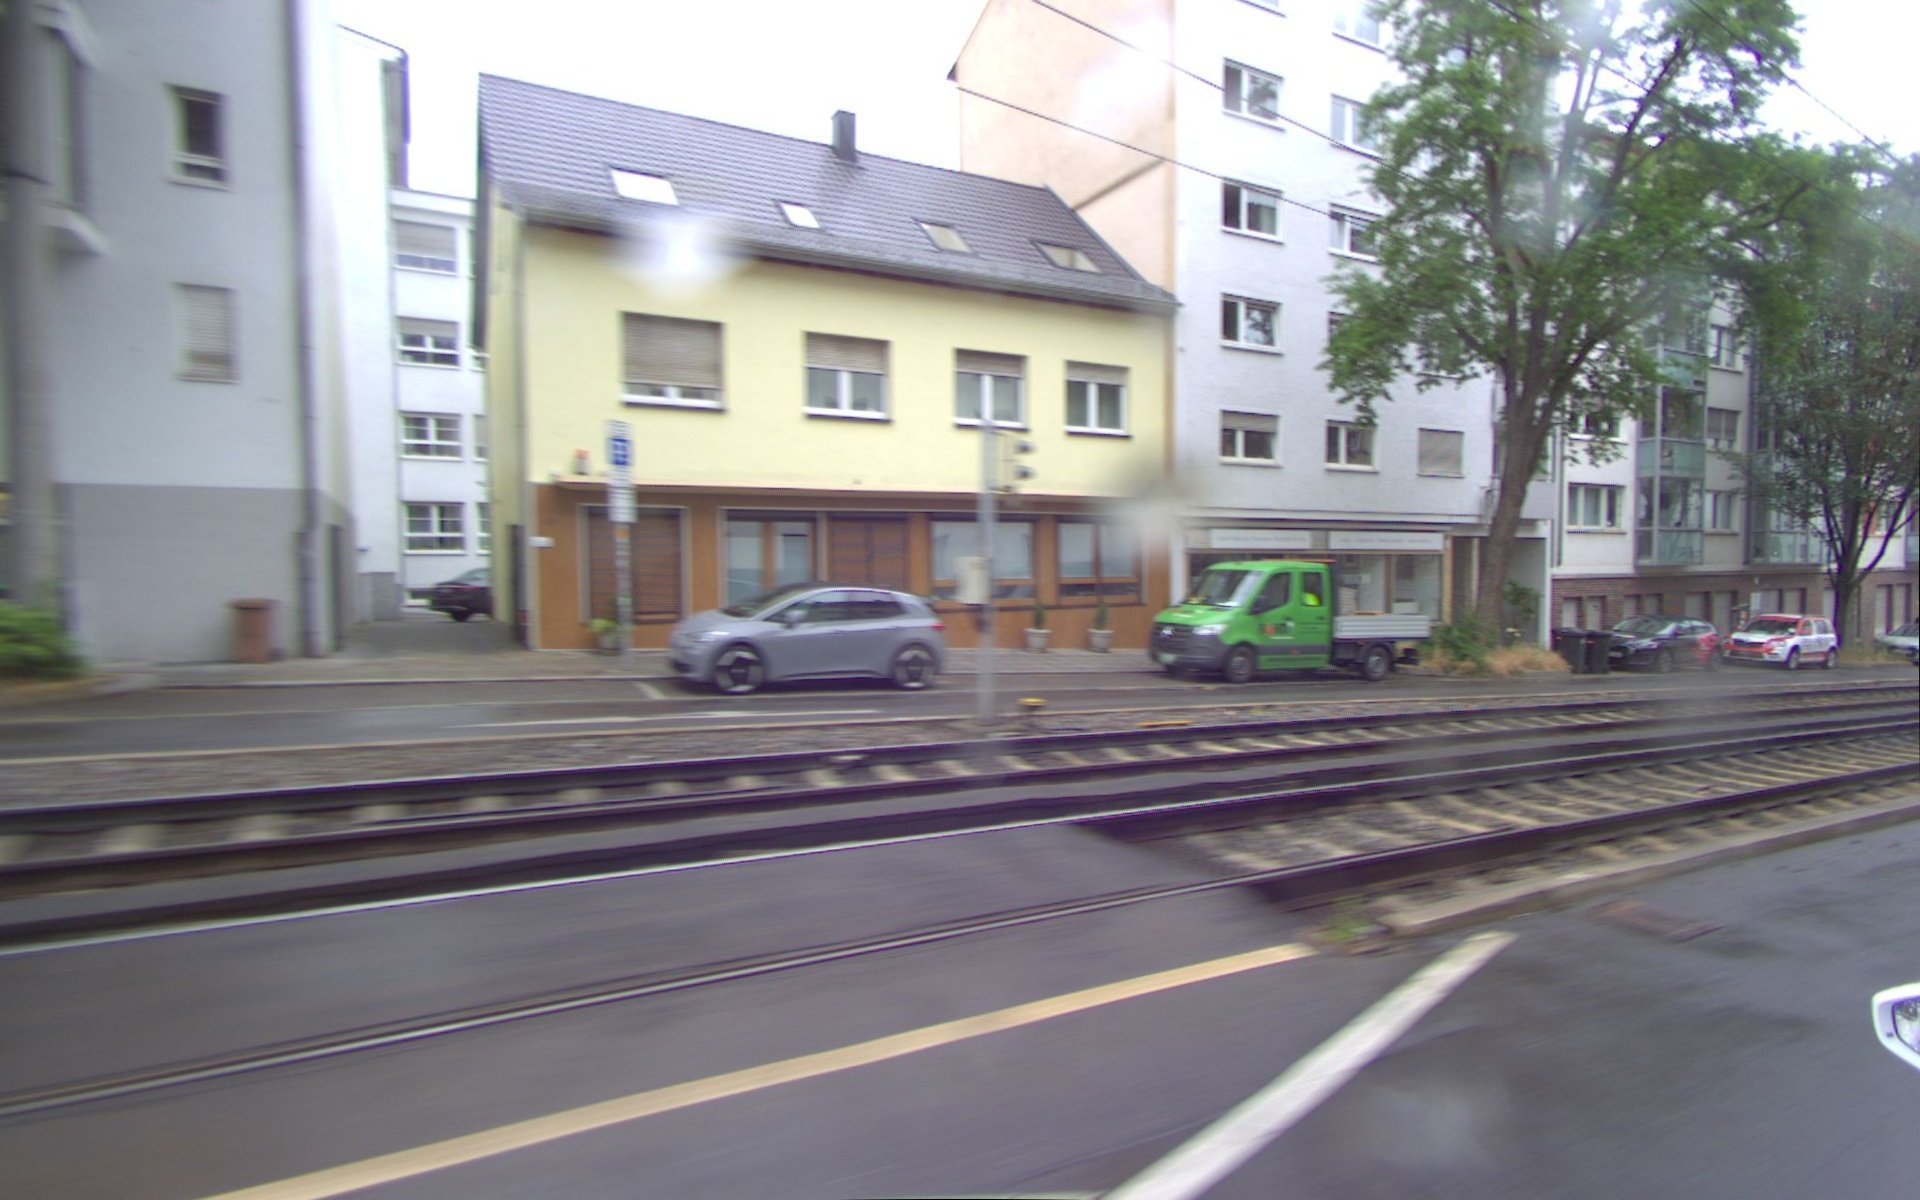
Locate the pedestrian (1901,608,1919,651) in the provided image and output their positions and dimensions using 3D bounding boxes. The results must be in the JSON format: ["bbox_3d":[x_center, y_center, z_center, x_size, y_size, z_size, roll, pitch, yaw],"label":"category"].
[{"bbox_3d":[40.715,1.247,42.791,0.773,1.796,0.670,1,1,-29],"label":"pedestrian"}]

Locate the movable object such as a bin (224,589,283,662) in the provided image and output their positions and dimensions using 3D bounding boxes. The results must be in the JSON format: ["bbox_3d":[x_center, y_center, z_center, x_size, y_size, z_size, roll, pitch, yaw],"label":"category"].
[{"bbox_3d":[-10.176,0.368,14.485,0.638,1.028,0.436,1,1,-31],"label":"movable object such as a bin"}]

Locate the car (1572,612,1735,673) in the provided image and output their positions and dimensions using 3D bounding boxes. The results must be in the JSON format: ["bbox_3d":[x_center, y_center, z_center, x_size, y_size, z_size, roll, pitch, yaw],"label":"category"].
[{"bbox_3d":[18.687,1.122,27.032,4.417,1.459,1.897,1,0,-30],"label":"car"}]

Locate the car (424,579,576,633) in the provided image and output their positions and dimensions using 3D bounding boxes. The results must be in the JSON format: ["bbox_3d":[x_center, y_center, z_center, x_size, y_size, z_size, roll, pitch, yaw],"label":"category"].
[{"bbox_3d":[-12.773,0.149,28.158,1.873,1.350,4.002,2,0,11],"label":"car"}]

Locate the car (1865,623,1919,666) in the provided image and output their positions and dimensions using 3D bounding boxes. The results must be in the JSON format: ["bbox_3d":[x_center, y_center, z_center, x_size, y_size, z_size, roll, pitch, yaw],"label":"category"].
[{"bbox_3d":[34.415,1.587,35.961,4.080,1.353,1.694,1,3,-29],"label":"car"}]

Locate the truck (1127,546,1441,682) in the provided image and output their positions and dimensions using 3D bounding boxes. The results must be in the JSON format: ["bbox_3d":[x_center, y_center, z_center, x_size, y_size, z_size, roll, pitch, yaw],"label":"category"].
[{"bbox_3d":[6.585,0.356,20.186,6.272,2.376,2.184,3,-1,-28],"label":"truck"}]

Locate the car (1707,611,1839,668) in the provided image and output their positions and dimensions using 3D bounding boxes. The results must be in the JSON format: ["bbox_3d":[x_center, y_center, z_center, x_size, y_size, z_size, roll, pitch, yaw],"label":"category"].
[{"bbox_3d":[24.688,1.168,30.478,4.110,1.590,1.767,1,0,-30],"label":"car"}]

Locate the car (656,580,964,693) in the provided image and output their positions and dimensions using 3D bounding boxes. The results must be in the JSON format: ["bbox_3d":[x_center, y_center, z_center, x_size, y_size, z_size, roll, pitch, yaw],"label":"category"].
[{"bbox_3d":[-2.239,0.523,15.288,4.308,1.480,1.697,1,2,-29],"label":"car"}]

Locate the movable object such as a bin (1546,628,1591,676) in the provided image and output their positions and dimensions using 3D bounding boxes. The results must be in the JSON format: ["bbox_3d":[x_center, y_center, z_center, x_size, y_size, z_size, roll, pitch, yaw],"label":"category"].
[{"bbox_3d":[15.024,1.264,24.806,0.664,1.136,0.720,1,0,-34],"label":"movable object such as a bin"}]

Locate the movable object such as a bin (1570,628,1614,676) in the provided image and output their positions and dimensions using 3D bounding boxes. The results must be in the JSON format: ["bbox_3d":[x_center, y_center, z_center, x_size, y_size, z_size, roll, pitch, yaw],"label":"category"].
[{"bbox_3d":[15.702,1.285,24.959,0.664,1.136,0.720,1,0,-34],"label":"movable object such as a bin"}]
